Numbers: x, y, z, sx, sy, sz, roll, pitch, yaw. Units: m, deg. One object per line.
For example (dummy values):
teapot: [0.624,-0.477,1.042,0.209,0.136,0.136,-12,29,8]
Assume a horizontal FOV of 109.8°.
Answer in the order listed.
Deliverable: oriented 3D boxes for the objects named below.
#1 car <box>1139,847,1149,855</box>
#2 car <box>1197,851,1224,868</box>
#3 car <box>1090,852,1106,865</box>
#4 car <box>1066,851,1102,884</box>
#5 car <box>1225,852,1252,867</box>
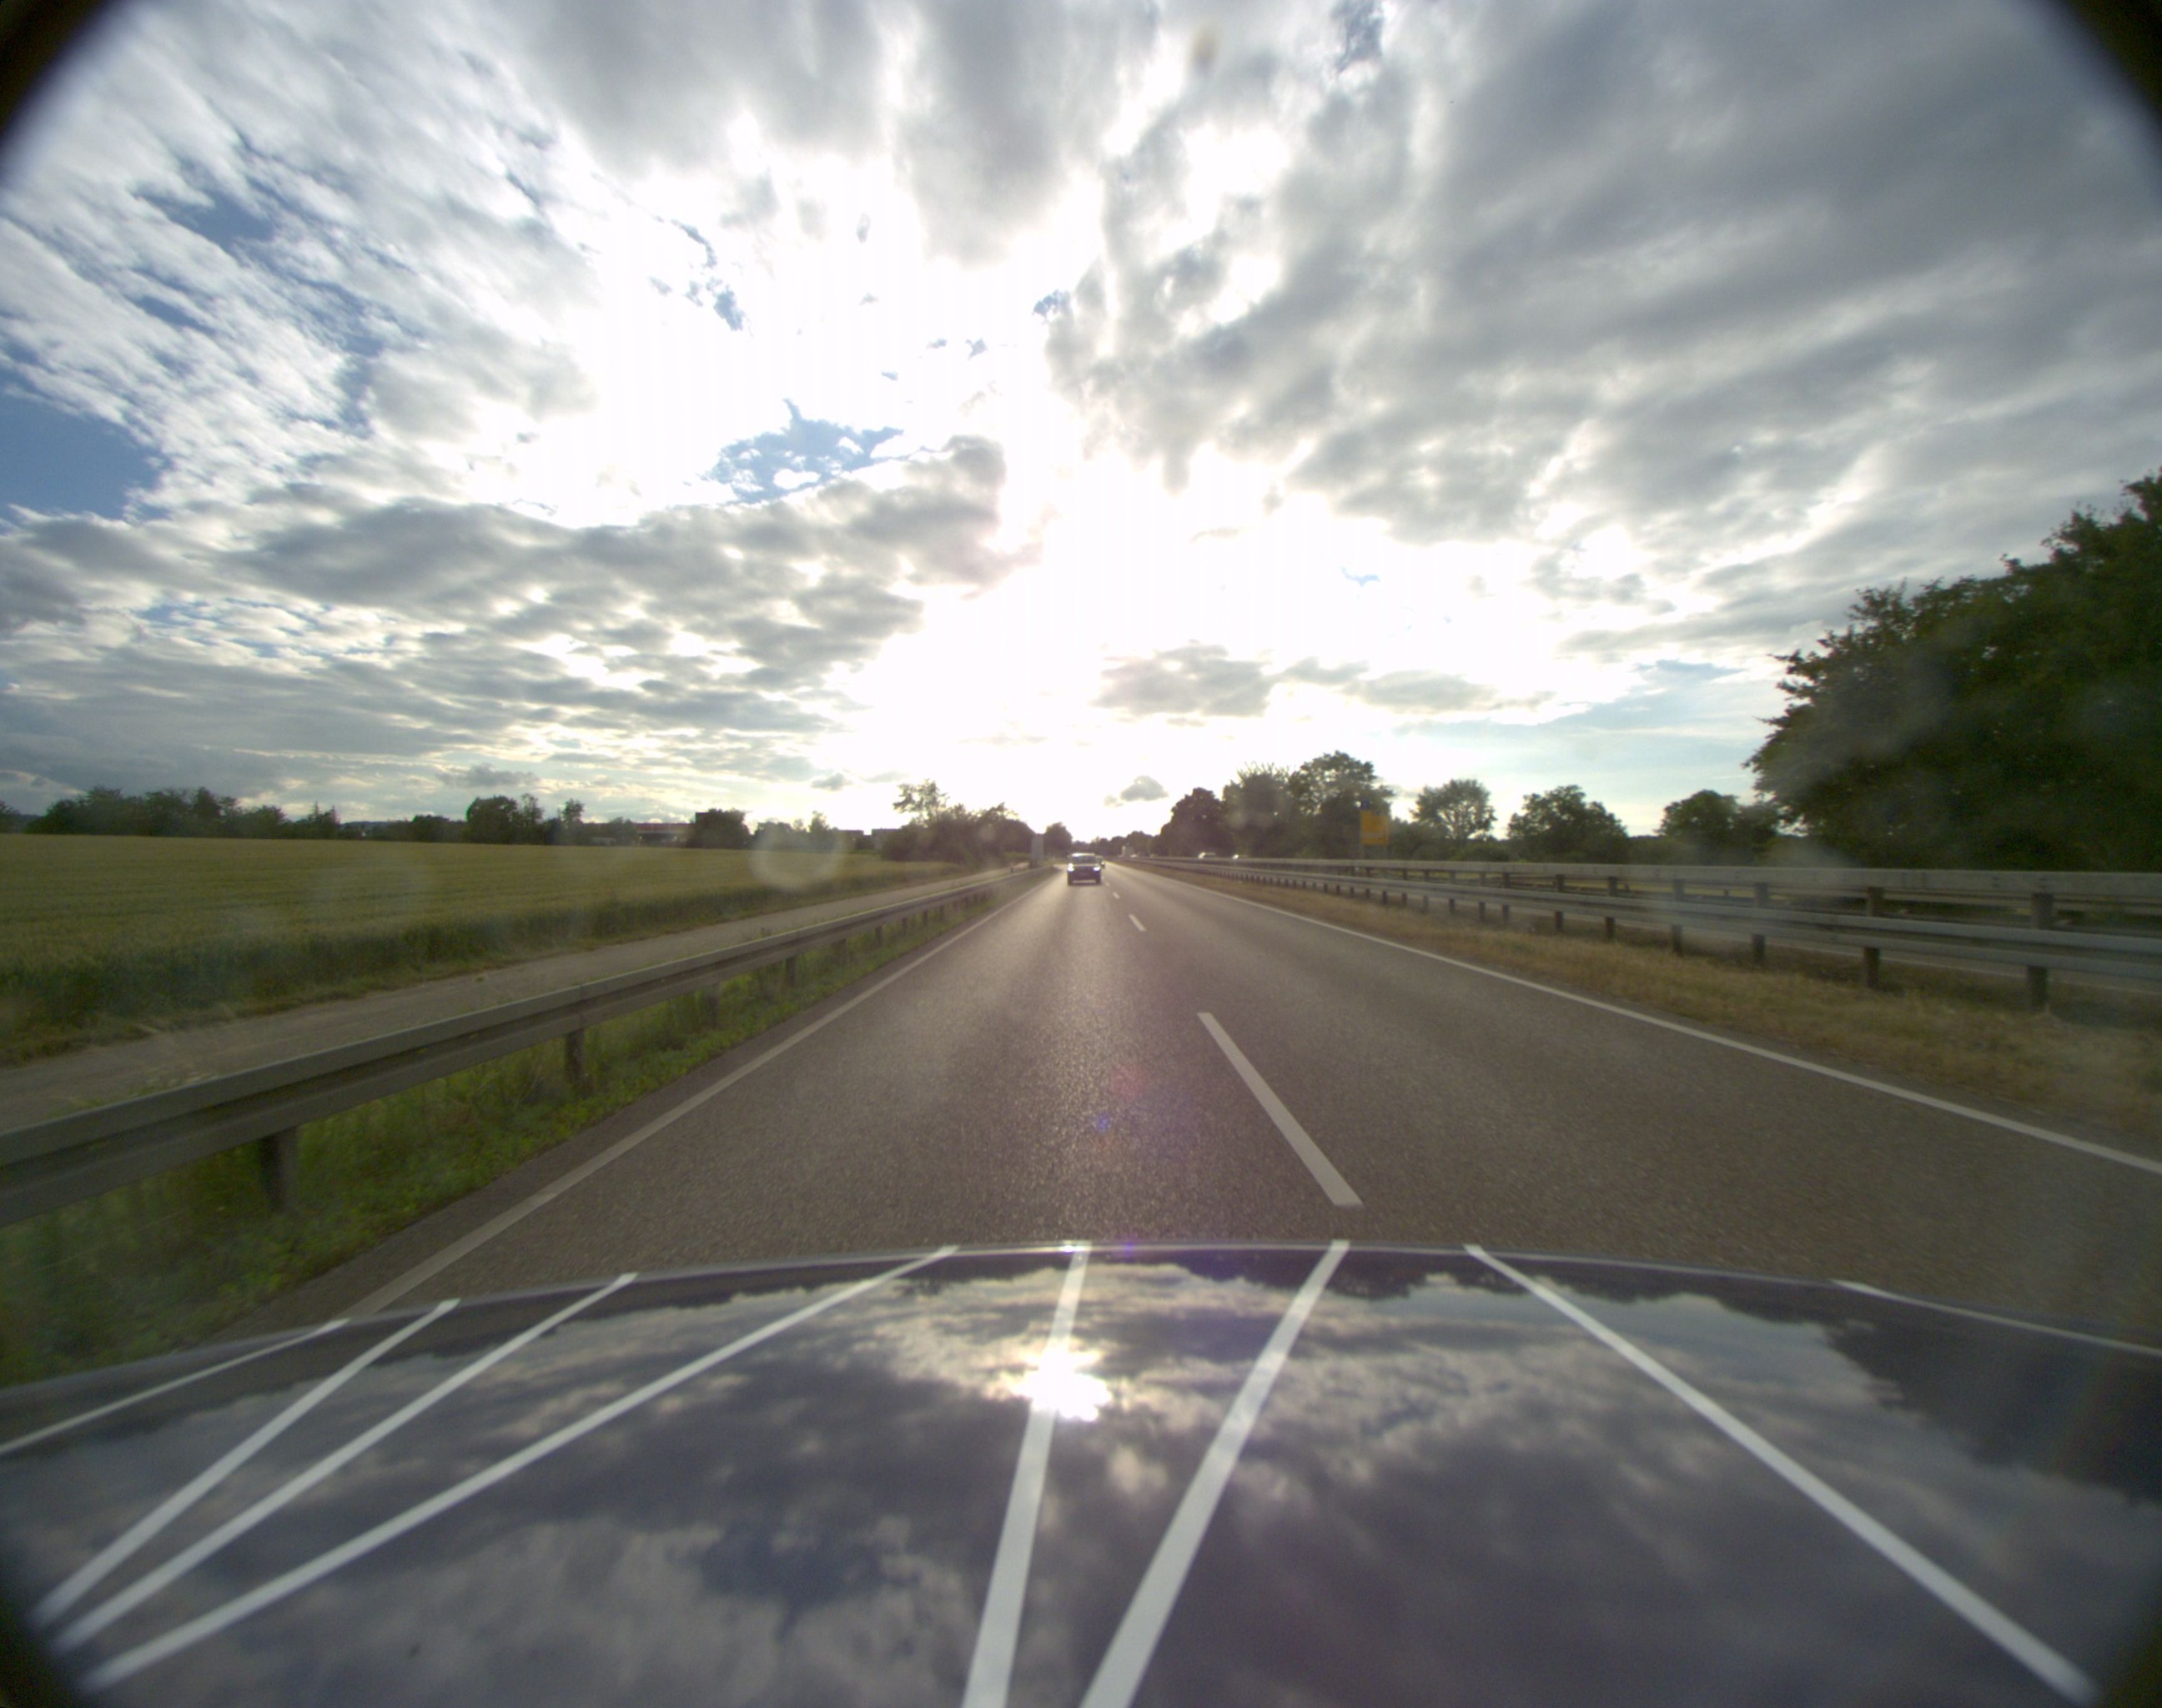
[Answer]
car: [13.795,-0.648,167.284,1.937,1.626,4.375,-1,1,0]
car: [12.586,0.507,74.062,1.803,1.605,4.375,1,1,0]
car: [2.036,0.469,89.804,1.775,1.389,4.000,-2,1,1]
car: [0.194,0.716,42.409,1.863,1.636,4.000,-2,1,1]
car: [16.450,0.574,79.676,1.911,1.470,4.461,-2,1,0]
